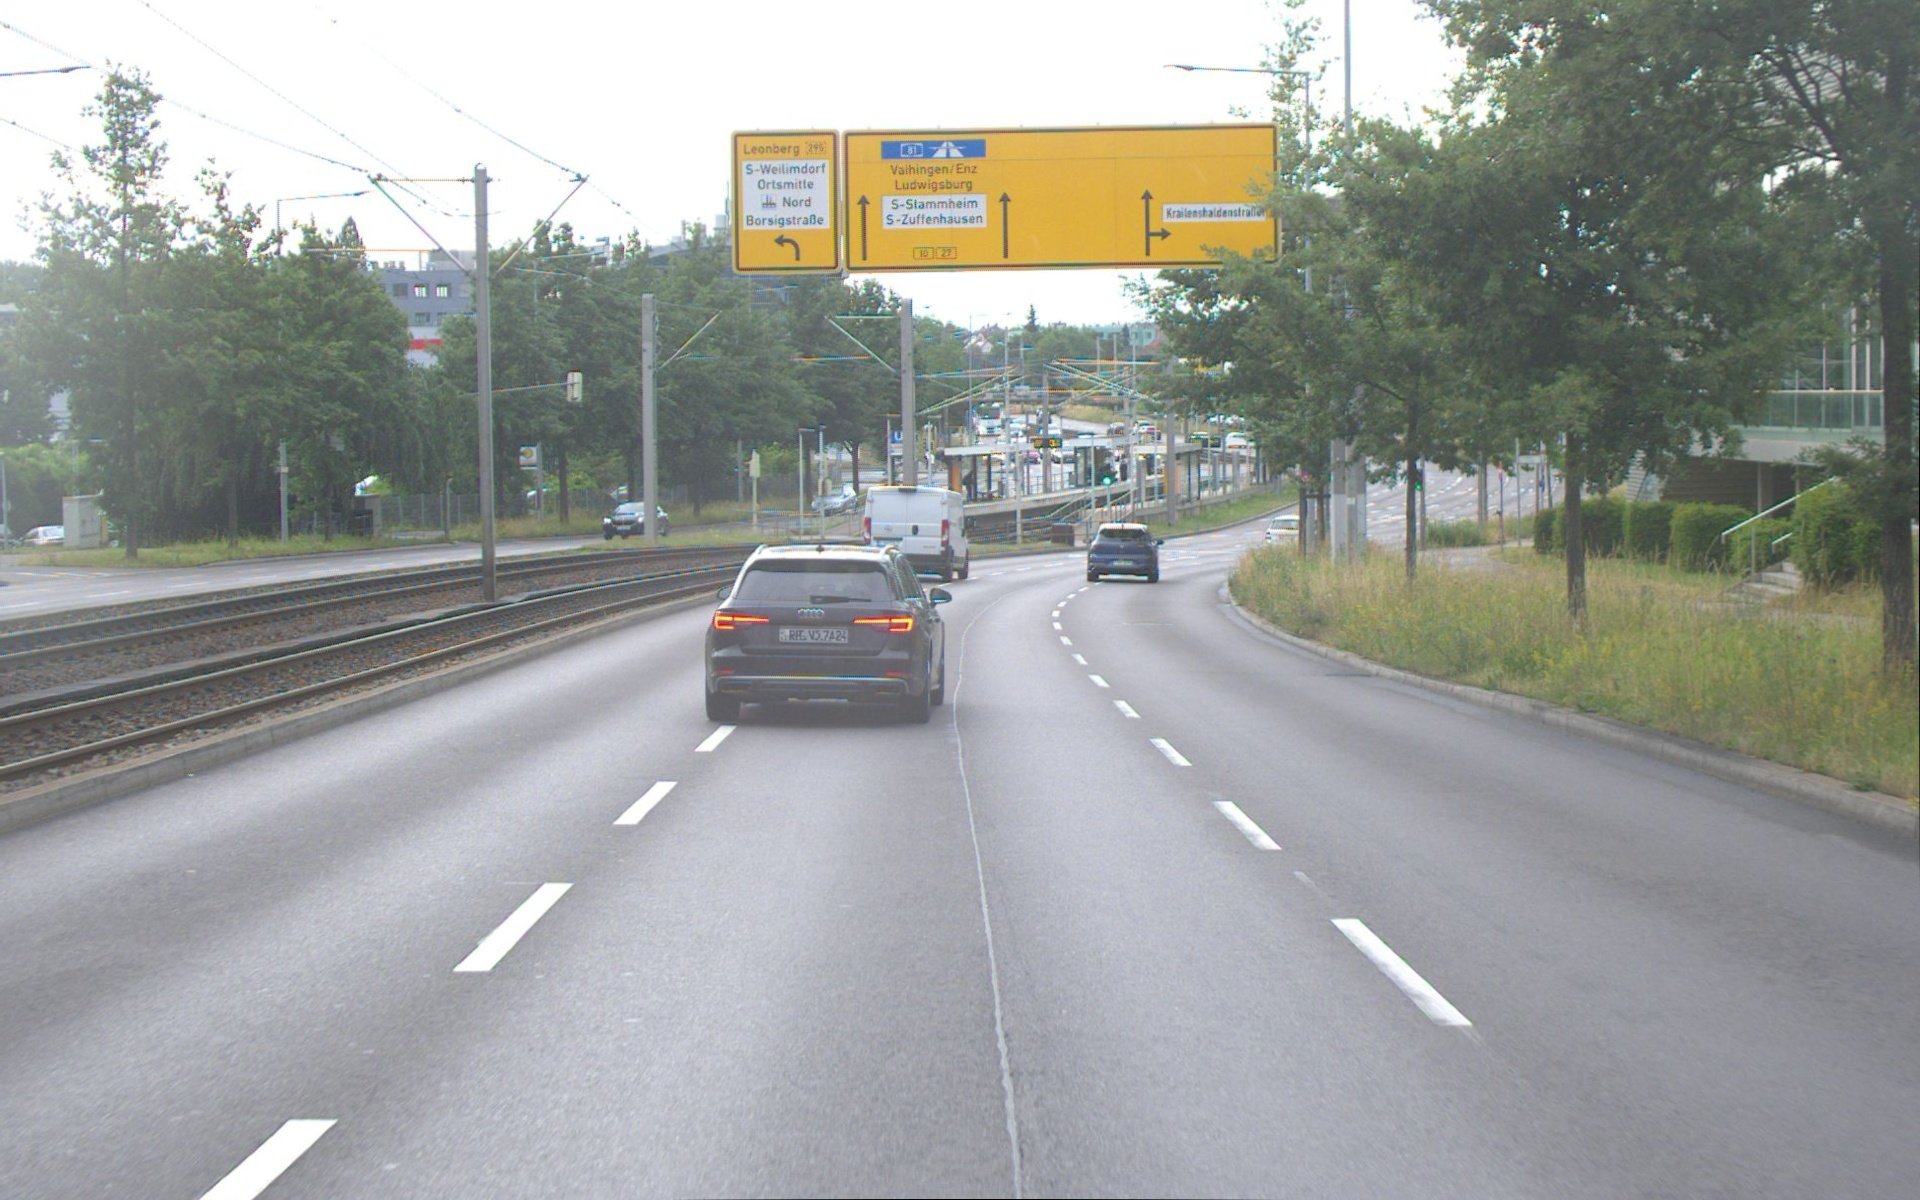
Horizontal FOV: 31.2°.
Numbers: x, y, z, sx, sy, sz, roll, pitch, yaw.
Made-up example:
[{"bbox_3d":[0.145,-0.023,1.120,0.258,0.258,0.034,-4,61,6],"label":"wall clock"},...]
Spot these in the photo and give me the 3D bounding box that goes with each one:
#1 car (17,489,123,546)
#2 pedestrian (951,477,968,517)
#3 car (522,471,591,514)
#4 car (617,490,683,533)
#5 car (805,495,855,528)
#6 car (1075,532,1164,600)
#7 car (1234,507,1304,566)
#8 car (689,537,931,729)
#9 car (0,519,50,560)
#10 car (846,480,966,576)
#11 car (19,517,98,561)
[{"bbox_3d":[-27.935,-2.577,107.989,1.994,1.645,3.999,1,0,5],"label":"car"},{"bbox_3d":[-0.022,-4.770,159.582,0.637,1.848,0.750,1,0,12],"label":"pedestrian"},{"bbox_3d":[-19.785,-5.276,168.597,1.995,2.007,3.997,2,1,15],"label":"car"},{"bbox_3d":[-11.655,-3.349,129.460,1.883,1.515,4.403,-3,2,2],"label":"car"},{"bbox_3d":[-6.823,-4.650,180.636,1.994,1.674,3.999,1,2,7],"label":"car"},{"bbox_3d":[4.027,-0.843,86.208,2.021,1.617,3.999,1,0,5],"label":"car"},{"bbox_3d":[10.466,-2.173,116.292,2.022,1.763,3.999,1,4,10],"label":"car"},{"bbox_3d":[-1.172,0.215,28.734,1.764,1.458,4.627,1,1,1],"label":"car"},{"bbox_3d":[-36.970,-2.365,134.265,1.993,1.505,4.001,1,0,-26],"label":"car"},{"bbox_3d":[-1.257,-1.700,82.772,2.511,2.169,5.149,1,0,3],"label":"car"},{"bbox_3d":[-32.284,-2.171,123.044,1.993,1.505,4.001,1,0,-26],"label":"car"}]
